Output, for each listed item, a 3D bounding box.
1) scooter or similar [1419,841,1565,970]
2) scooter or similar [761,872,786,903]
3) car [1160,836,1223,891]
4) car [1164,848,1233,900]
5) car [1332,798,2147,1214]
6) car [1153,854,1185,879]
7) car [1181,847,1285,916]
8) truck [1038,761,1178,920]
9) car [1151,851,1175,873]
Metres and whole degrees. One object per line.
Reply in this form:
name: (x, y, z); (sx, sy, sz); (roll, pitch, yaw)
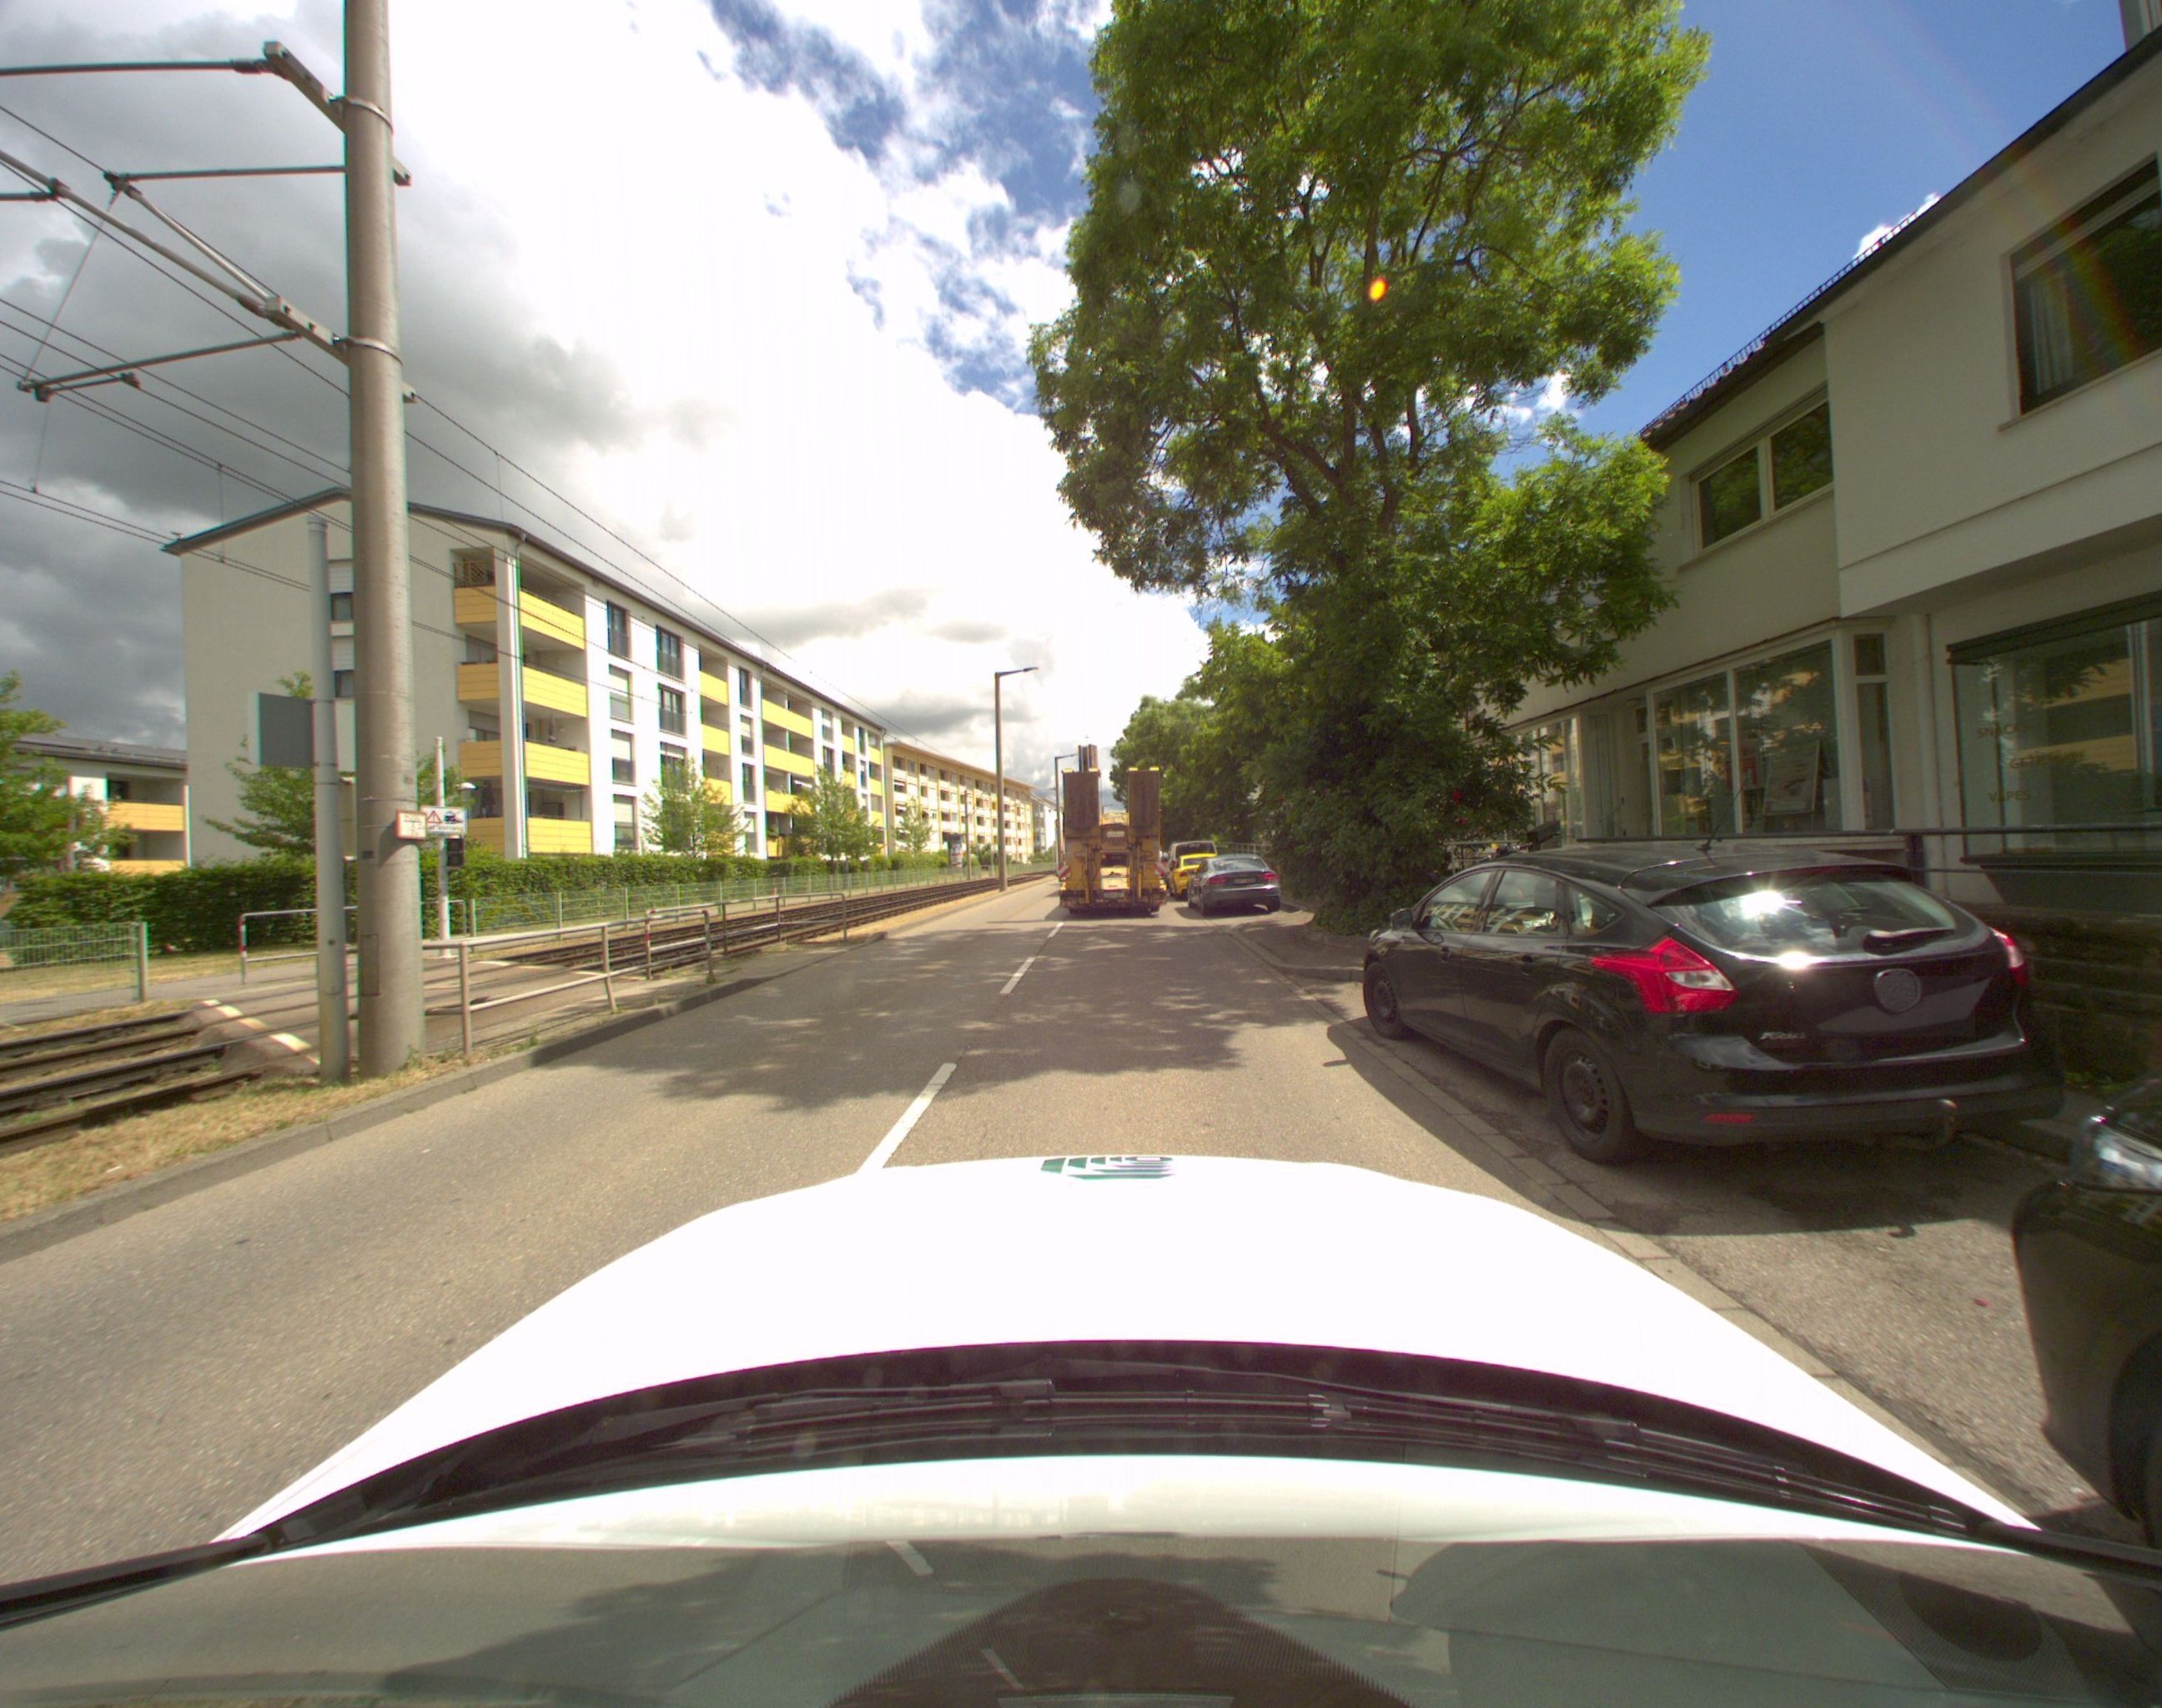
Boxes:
scooter or similar: (4.327, 0.512, 8.629); (0.538, 1.242, 1.223); (-3, 0, -34)
scooter or similar: (-13.384, 1.442, 35.500); (0.488, 1.293, 1.303); (-2, 0, 3)
car: (4.418, 0.373, 33.361); (1.907, 1.958, 5.747); (-3, 0, 2)
car: (3.782, 0.616, 26.840); (1.748, 1.442, 4.344); (-4, 0, 3)
car: (3.193, 0.596, 5.267); (1.828, 1.505, 4.243); (-3, 0, 1)
car: (5.507, 0.764, 51.316); (1.602, 1.456, 3.677); (-4, 0, 2)
car: (3.649, 0.614, 20.286); (1.749, 1.442, 4.494); (-3, 0, 1)
truck: (0.784, -0.304, 25.124); (3.112, 3.564, 12.462); (-2, 0, 1)
car: (6.832, 0.662, 67.601); (1.814, 1.682, 4.584); (-3, 0, 6)
